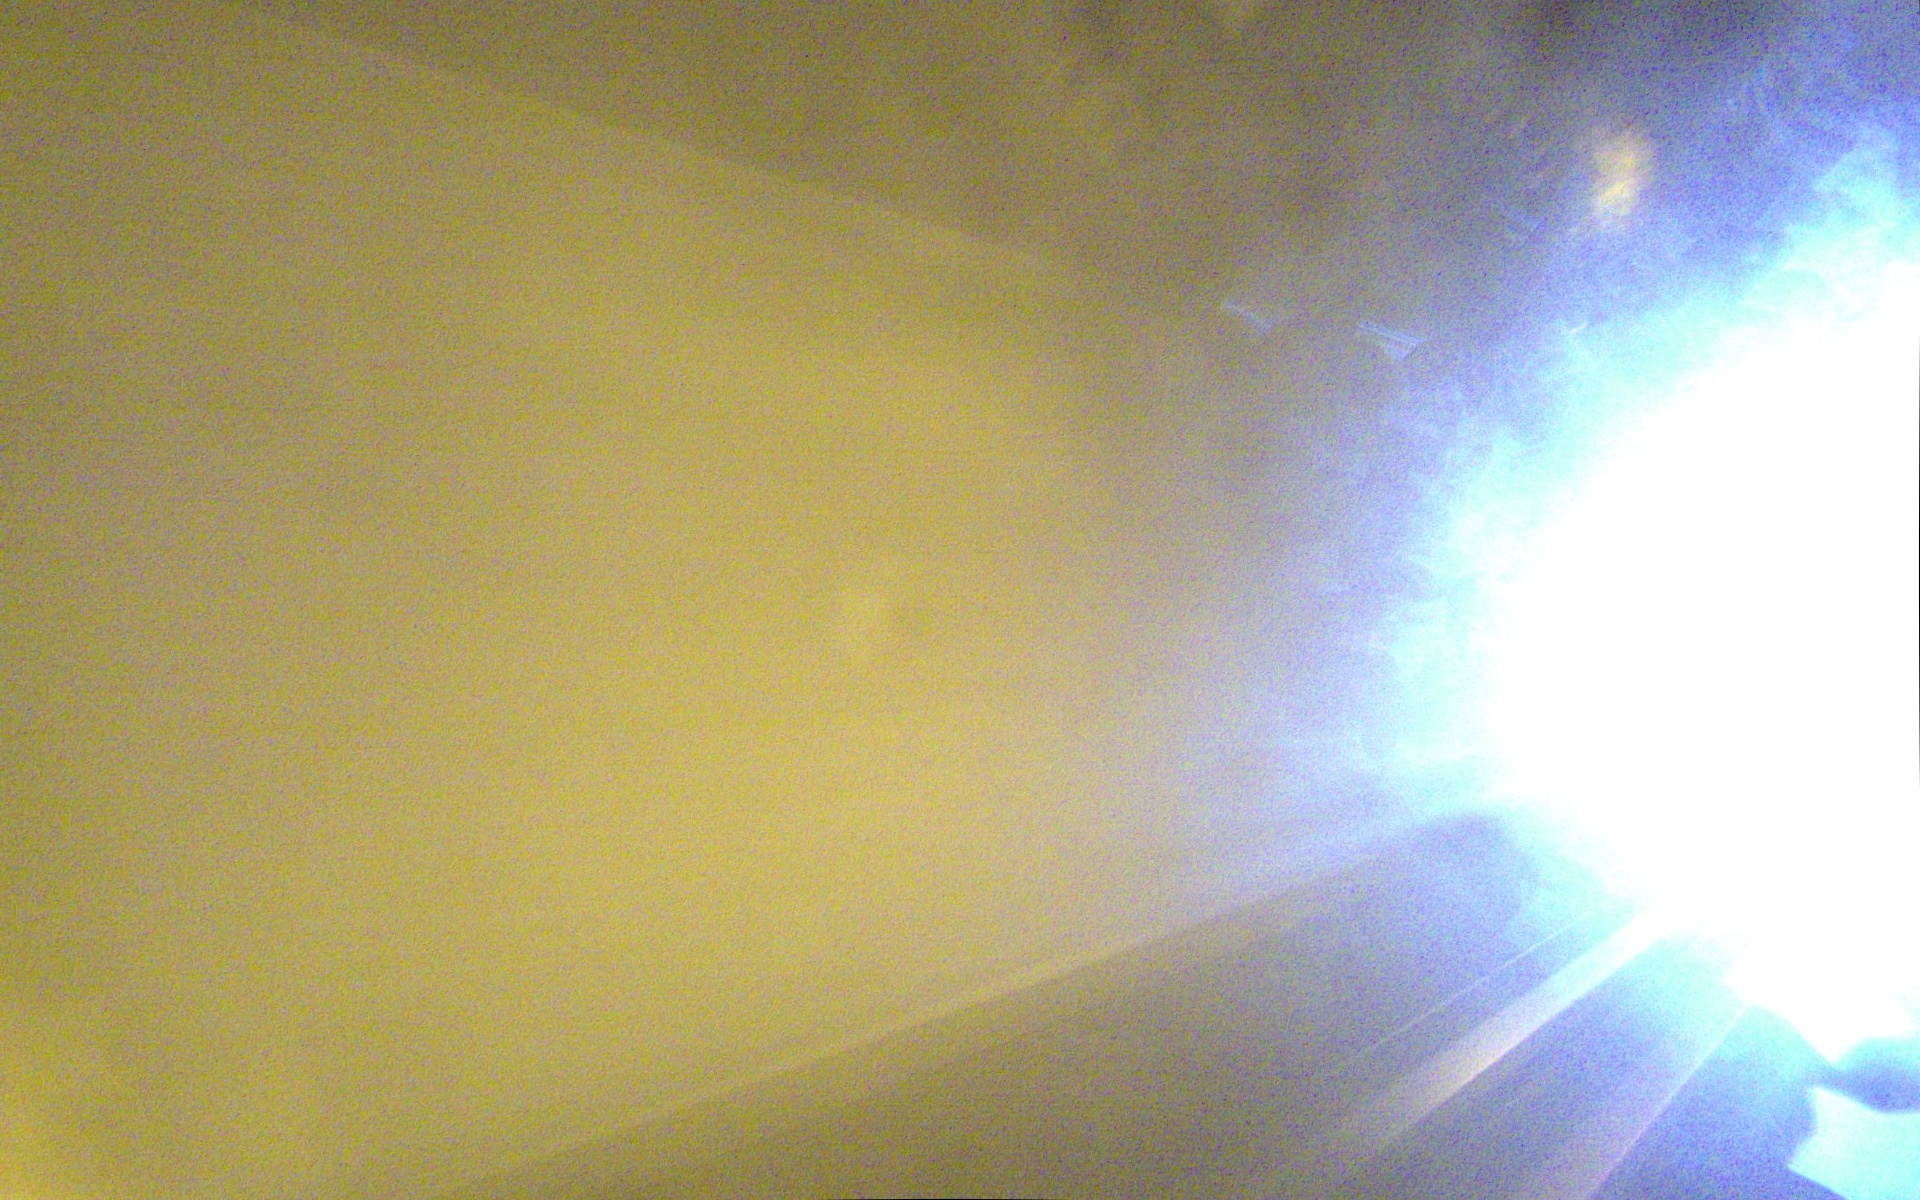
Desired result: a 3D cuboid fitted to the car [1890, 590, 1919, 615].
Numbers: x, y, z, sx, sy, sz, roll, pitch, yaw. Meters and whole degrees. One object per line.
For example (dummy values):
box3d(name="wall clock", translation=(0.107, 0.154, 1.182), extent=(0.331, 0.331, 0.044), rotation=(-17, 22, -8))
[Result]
box3d(name="car", translation=(70.171, 0.153, 74.546), extent=(1.696, 1.794, 3.956), rotation=(1, 1, 31))
